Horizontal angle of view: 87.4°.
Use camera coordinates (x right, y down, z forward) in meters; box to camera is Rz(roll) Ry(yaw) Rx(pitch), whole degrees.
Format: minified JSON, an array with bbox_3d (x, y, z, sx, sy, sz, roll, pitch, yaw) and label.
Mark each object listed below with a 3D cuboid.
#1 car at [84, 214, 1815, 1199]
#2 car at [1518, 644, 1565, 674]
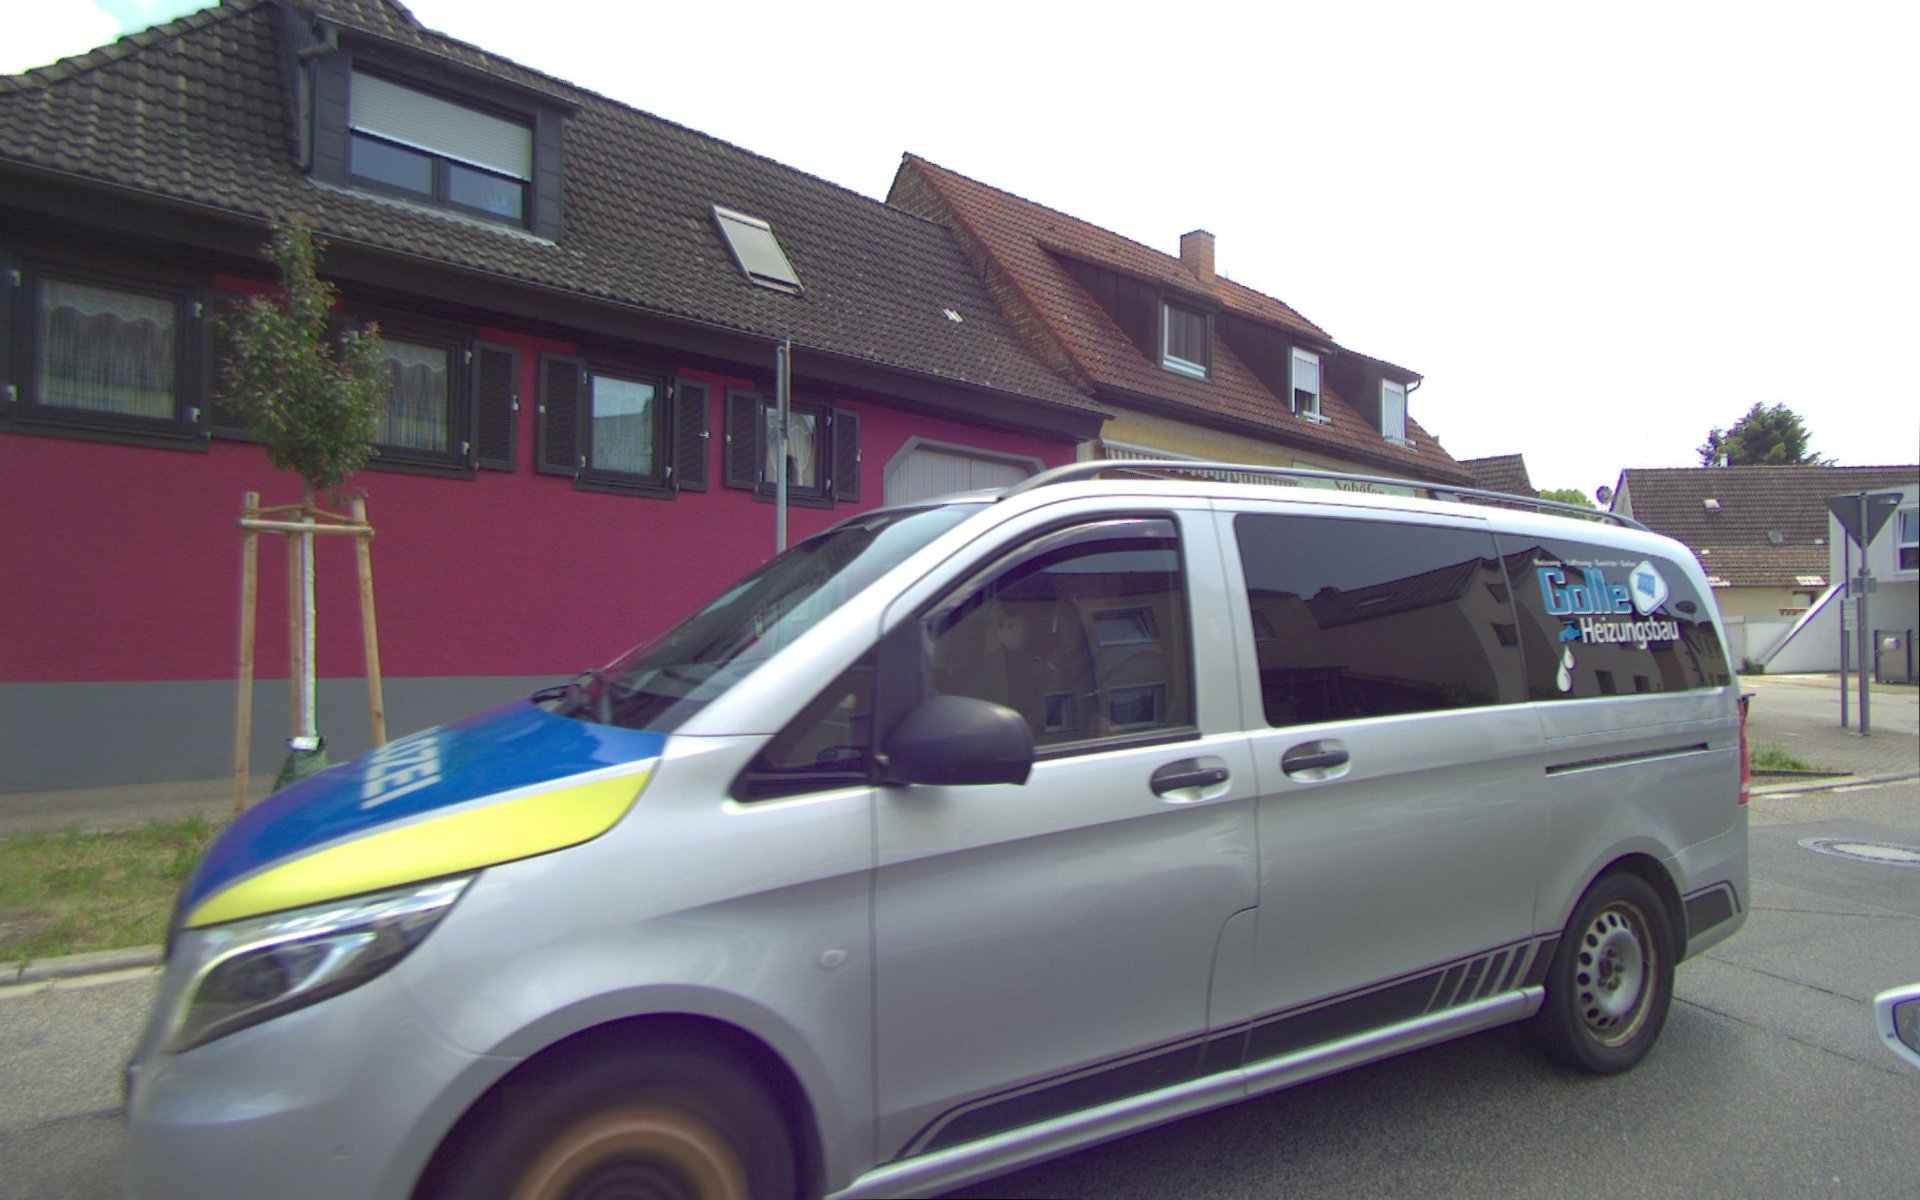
[{"bbox_3d":[0.495,0.465,3.429,4.875,1.823,1.985,3,1,-28],"label":"car"},{"bbox_3d":[32.771,3.290,56.672,1.461,1.550,3.478,2,-2,17],"label":"car"}]
